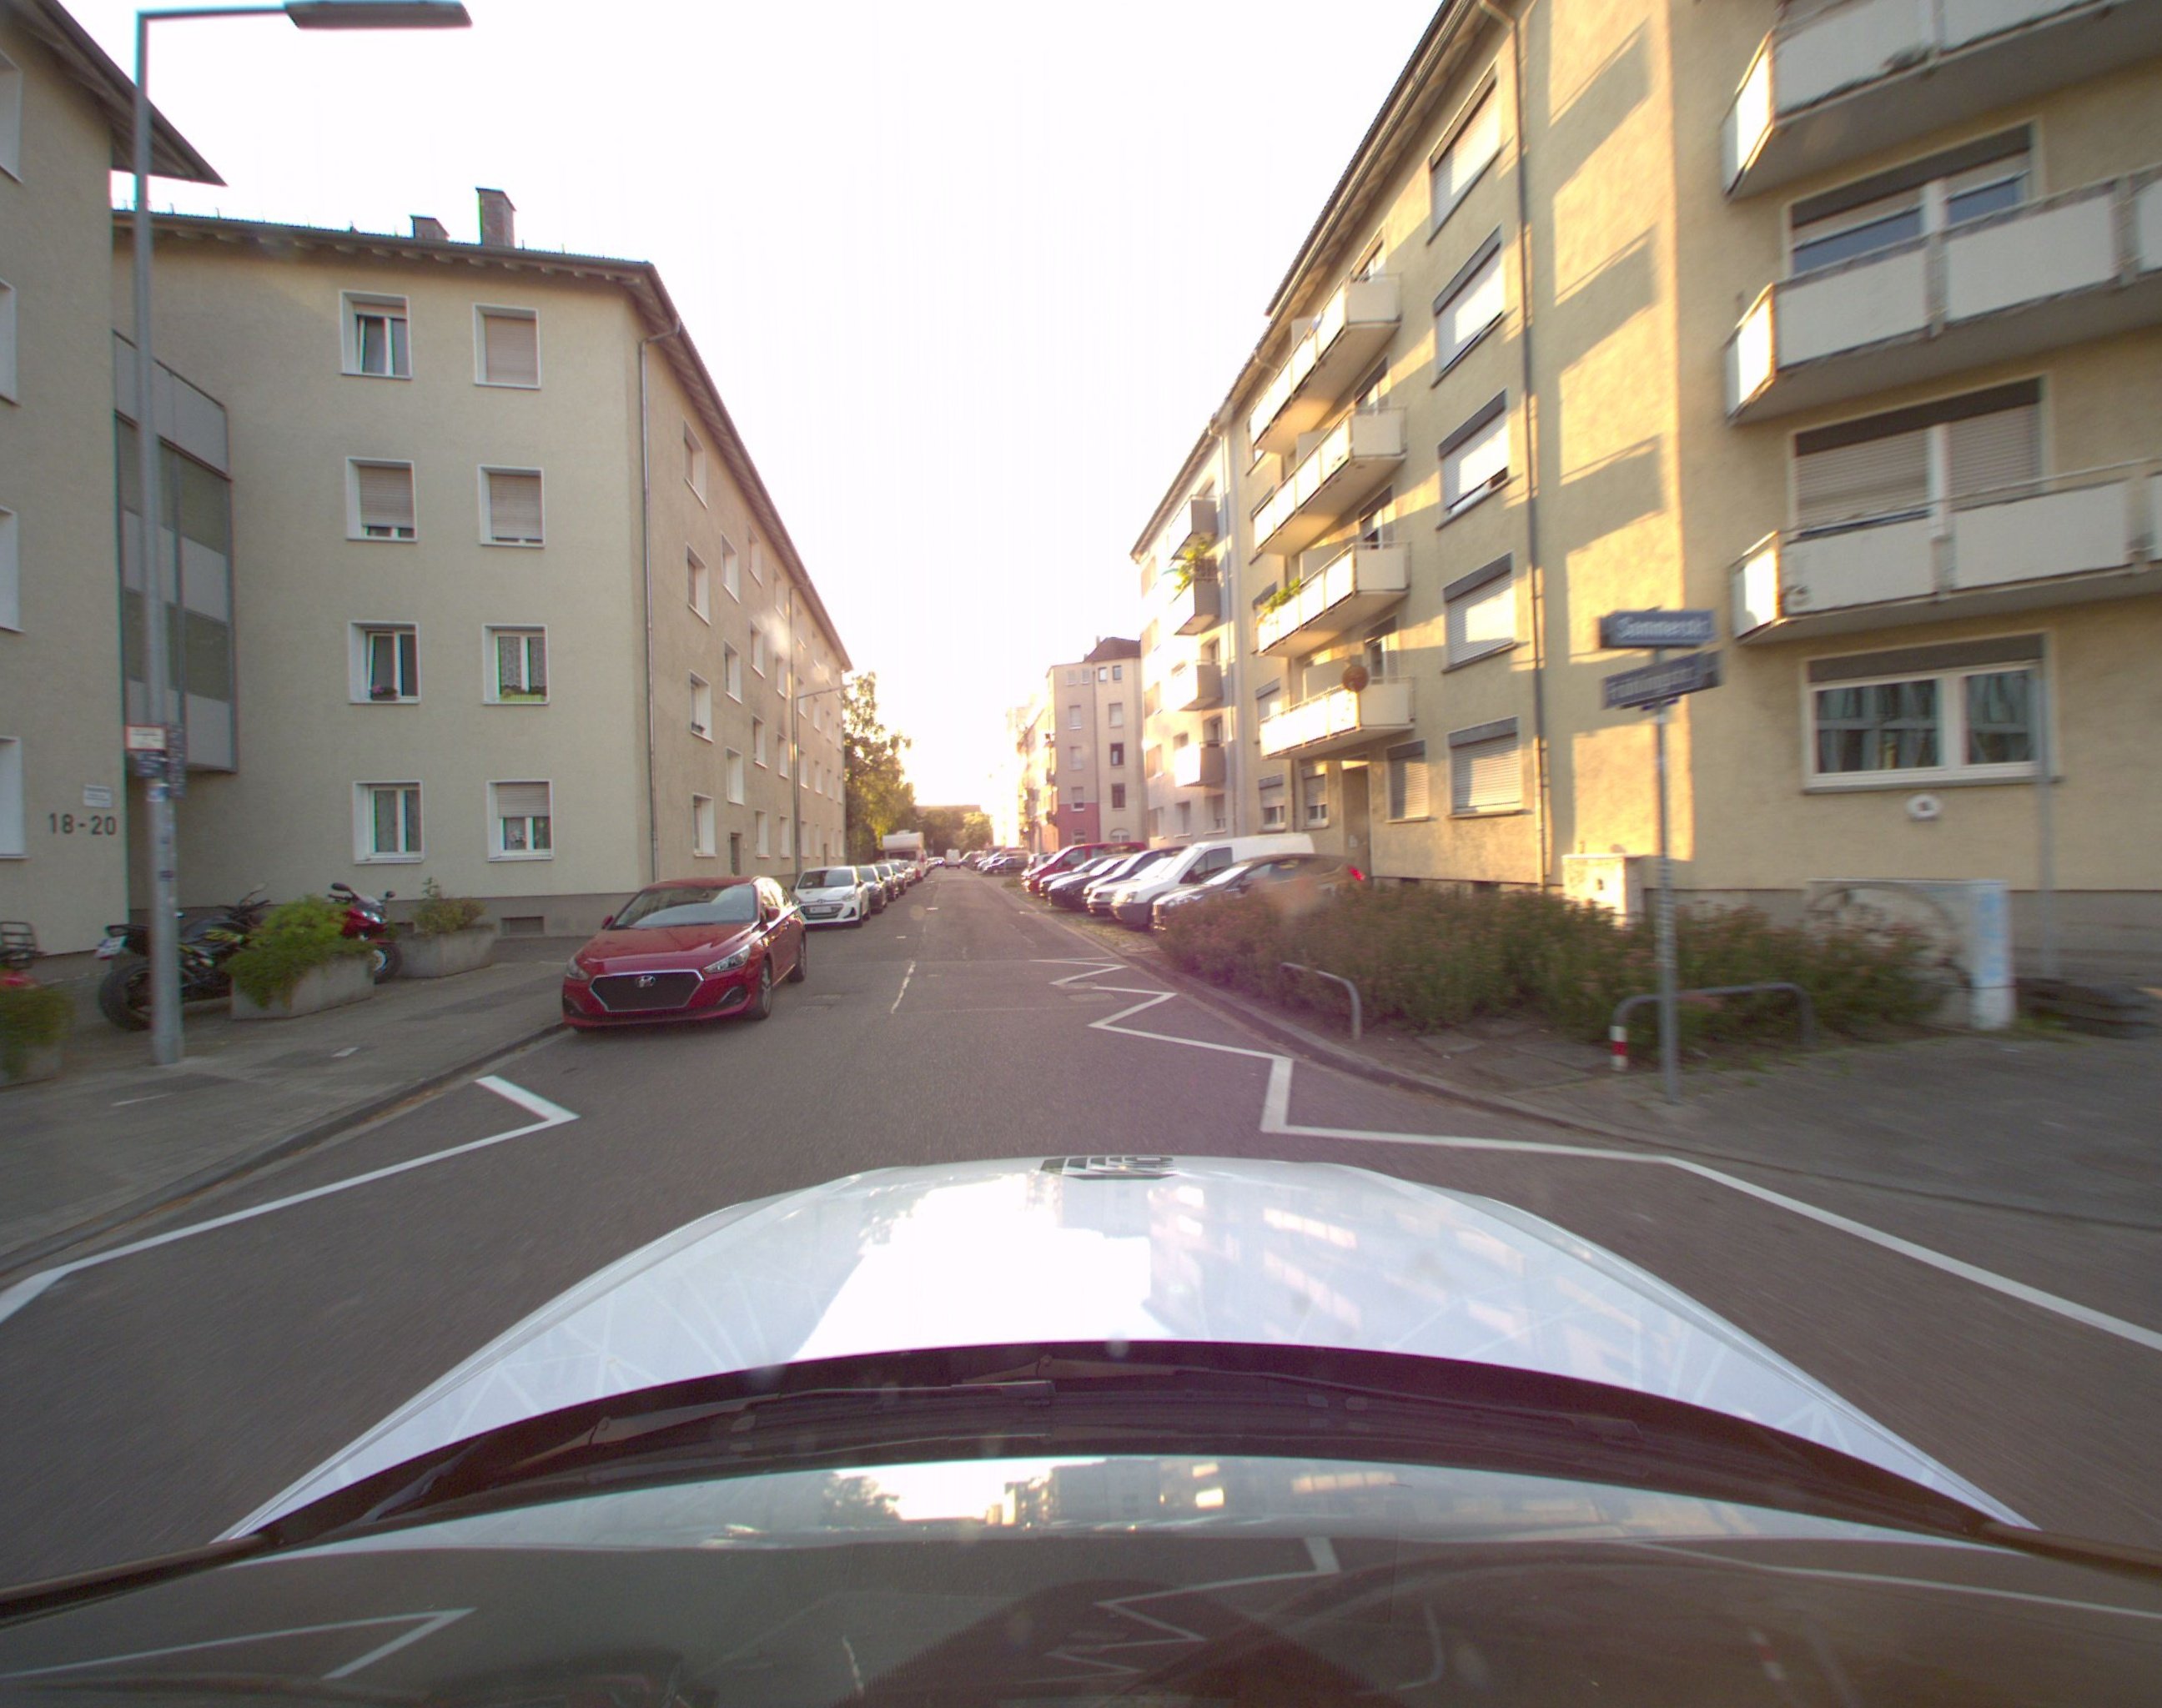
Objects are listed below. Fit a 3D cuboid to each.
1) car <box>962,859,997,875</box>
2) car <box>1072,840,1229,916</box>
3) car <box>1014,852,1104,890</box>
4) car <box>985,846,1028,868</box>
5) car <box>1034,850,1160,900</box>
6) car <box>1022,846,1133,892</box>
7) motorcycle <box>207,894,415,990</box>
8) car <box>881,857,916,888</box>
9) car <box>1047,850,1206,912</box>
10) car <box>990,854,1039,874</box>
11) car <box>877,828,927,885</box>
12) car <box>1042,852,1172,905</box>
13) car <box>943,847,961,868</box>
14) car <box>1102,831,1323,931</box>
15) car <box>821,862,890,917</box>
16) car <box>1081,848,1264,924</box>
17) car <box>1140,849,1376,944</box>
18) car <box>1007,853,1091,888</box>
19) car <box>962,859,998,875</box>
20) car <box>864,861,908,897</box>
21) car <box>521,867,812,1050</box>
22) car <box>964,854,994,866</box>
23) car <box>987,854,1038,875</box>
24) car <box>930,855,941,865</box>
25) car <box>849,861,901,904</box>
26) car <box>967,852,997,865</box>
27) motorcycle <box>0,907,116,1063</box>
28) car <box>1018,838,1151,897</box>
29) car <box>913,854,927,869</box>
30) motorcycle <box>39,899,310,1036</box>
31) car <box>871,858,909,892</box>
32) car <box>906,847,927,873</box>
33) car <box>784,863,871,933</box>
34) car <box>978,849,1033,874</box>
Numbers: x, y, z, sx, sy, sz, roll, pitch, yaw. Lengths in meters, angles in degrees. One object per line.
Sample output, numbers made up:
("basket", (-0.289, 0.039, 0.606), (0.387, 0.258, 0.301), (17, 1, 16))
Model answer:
("car", (-11.827, 1.506, 94.946), (3.988, 1.530, 1.653), (-3, 0, -11))
("car", (1.802, 0.612, 21.603), (3.791, 1.695, 1.649), (-3, 0, -10))
("car", (-1.018, 0.765, 36.693), (3.813, 1.428, 1.628), (-3, 0, -11))
("car", (-7.329, 0.282, 80.188), (3.992, 2.013, 1.991), (-2, 0, -14))
("car", (0.539, 0.727, 28.903), (4.146, 1.471, 1.630), (-3, 0, -11))
("car", (-0.186, 0.610, 34.253), (4.325, 1.637, 1.811), (-3, 0, -11))
("motorcycle", (-9.810, 1.111, 10.408), (2.116, 1.105, 0.560), (-2, 0, 1))
("car", (-10.290, 1.003, 46.116), (1.653, 1.541, 3.863), (-3, 0, -9))
("car", (1.273, 0.755, 23.624), (4.309, 1.449, 1.649), (-3, 0, -10))
("car", (-5.719, 0.850, 69.572), (3.988, 1.530, 1.653), (-3, 0, -11))
("car", (-11.602, 0.159, 53.392), (2.619, 3.268, 7.672), (-3, 0, -9))
("car", (0.803, 0.758, 26.192), (3.878, 1.416, 1.630), (-3, 0, -12))
("car", (-17.965, 0.539, 113.269), (2.130, 2.717, 4.814), (-3, 0, -11))
("car", (2.720, 0.536, 17.261), (4.279, 1.860, 1.735), (-2, -1, -10))
("car", (-6.893, 1.032, 25.225), (1.660, 1.434, 4.015), (-3, 0, -11))
("car", (2.097, 0.711, 19.214), (3.955, 1.522, 1.700), (-2, 0, -10))
("car", (3.187, 0.725, 15.014), (3.872, 1.492, 1.736), (-2, 0, -10))
("car", (-1.568, 0.775, 39.140), (3.813, 1.428, 1.628), (-3, 0, -11))
("car", (-11.545, 1.480, 92.944), (3.988, 1.530, 1.653), (-3, 0, -11))
("car", (-8.680, 1.068, 36.417), (1.654, 1.434, 3.861), (-3, 0, -11))
("car", (-4.306, 0.934, 9.227), (1.846, 1.473, 4.062), (-2, 0, -11))
("car", (-14.460, 0.807, 115.199), (3.988, 1.530, 1.653), (-3, 0, -11))
("car", (-5.650, 0.865, 67.240), (3.988, 1.530, 1.653), (-3, 0, -11))
("car", (-26.038, 1.070, 145.694), (1.654, 1.830, 3.861), (-3, 0, -11))
("car", (-7.910, 1.040, 31.531), (1.654, 1.434, 3.781), (-3, 0, -11))
("car", (-13.507, 0.605, 111.159), (3.988, 1.530, 1.653), (-3, 0, -11))
("motorcycle", (-8.761, 1.043, 5.977), (0.683, 1.160, 2.042), (-2, 0, 15))
("car", (0.092, 0.515, 31.392), (4.724, 1.909, 2.052), (-3, 0, -11))
("car", (-21.591, 0.975, 109.128), (1.654, 1.830, 3.861), (-3, 0, -11))
("motorcycle", (-9.057, 1.068, 8.293), (0.682, 1.079, 2.028), (-2, 0, -8))
("car", (-9.732, 1.016, 41.771), (1.654, 1.564, 3.861), (-3, 0, -11))
("car", (-16.196, 0.575, 80.296), (1.771, 2.445, 5.125), (-3, 0, -11))
("car", (-6.225, 1.010, 20.293), (1.616, 1.473, 3.491), (-3, 0, -11))
("car", (-6.897, 0.637, 74.097), (4.815, 1.967, 1.732), (-3, 0, -11))
